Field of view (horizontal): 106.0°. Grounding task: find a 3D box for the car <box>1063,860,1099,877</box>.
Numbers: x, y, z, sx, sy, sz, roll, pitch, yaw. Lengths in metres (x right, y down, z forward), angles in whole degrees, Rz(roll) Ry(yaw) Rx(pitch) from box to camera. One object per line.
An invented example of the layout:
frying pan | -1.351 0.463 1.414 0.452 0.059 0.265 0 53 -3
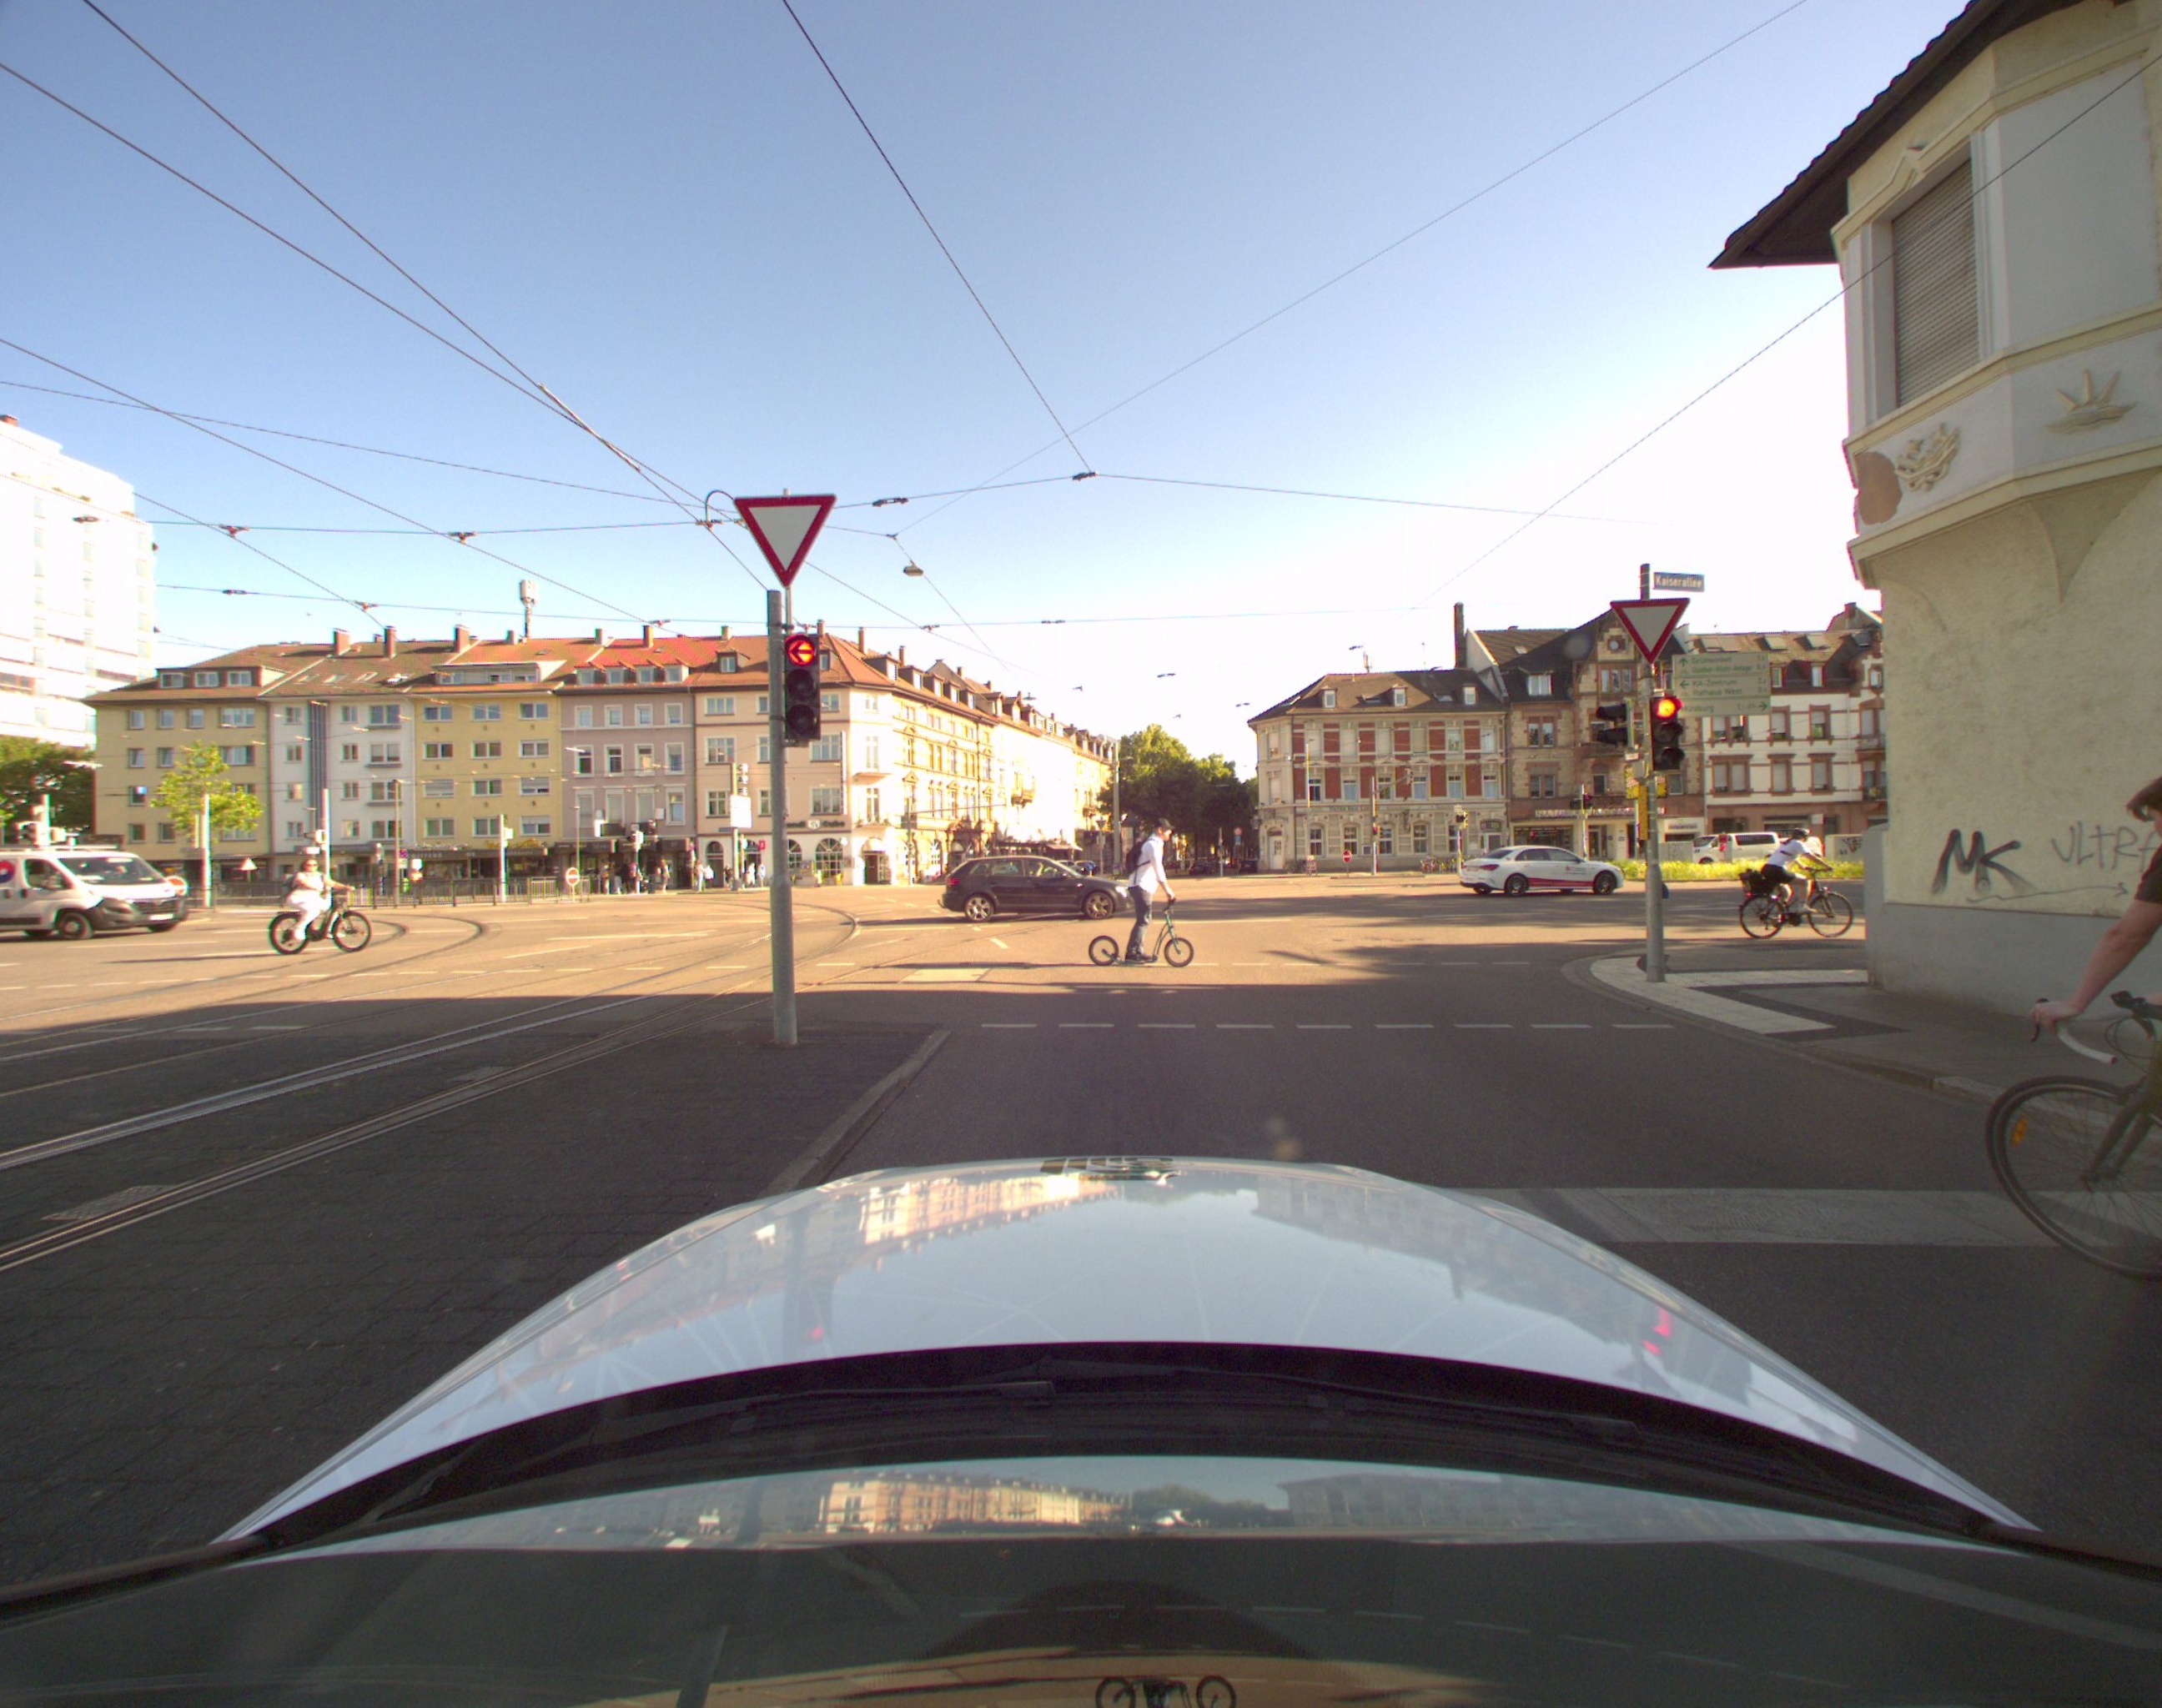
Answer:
car | 0.029 1.312 73.798 1.977 1.404 4.189 -1 0 18

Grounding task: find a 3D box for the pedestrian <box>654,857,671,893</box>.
pedestrian | -21.524 1.074 41.928 0.559 1.786 0.559 -1 0 -4

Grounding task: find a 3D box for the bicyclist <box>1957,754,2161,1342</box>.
bicyclist | 3.558 0.577 2.492 0.649 1.767 0.995 -1 0 2

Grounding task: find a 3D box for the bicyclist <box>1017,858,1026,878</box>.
bicyclist | -4.769 1.093 65.462 0.486 1.601 0.668 -1 0 12

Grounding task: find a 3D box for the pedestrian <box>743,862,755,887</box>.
pedestrian | -22.676 1.423 55.673 0.744 1.682 0.623 -1 0 -23

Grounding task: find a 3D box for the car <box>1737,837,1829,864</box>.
car | 45.290 -0.234 52.594 4.239 1.622 1.999 -1 0 -1

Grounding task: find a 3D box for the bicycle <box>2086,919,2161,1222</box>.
bicycle | 4.503 0.859 2.480 0.568 1.165 1.890 -1 0 2

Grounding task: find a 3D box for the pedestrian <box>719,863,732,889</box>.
pedestrian | -23.076 1.405 52.923 0.744 1.682 0.623 -1 0 -23

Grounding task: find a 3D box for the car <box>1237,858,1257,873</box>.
car | 16.798 1.136 82.285 1.742 1.420 4.016 -1 0 14

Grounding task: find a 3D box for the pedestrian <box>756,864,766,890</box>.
pedestrian | -15.795 1.131 40.191 0.364 1.253 0.449 -1 0 -10

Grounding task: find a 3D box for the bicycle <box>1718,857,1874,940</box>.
bicycle | 11.334 0.676 12.940 1.920 1.223 0.741 -1 0 -6

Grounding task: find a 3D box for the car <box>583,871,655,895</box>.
car | -30.347 1.894 53.526 3.711 1.491 1.820 0 -1 4

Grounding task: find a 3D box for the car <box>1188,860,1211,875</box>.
car | 11.094 1.208 75.940 1.705 1.300 4.089 -1 0 14

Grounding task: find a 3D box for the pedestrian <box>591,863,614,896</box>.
pedestrian | -24.906 1.302 42.370 0.764 1.682 0.628 -1 0 1

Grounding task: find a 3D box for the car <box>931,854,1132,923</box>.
car | -1.103 0.730 18.283 4.264 1.381 1.642 -1 0 -6

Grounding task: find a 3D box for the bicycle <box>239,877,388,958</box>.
bicycle | -13.276 1.083 14.118 1.934 1.299 0.623 -2 0 0

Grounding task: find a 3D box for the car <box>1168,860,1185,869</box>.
car | 16.027 1.744 136.411 1.977 1.404 4.189 -1 0 18

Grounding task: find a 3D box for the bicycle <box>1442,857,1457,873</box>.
bicycle | 23.853 0.689 52.748 0.483 1.020 1.789 -1 0 12

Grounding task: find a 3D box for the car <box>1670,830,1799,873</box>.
car | 33.407 -0.124 41.725 4.962 2.013 2.001 -1 0 1

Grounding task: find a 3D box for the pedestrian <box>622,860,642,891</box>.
pedestrian | -23.111 1.085 41.891 0.697 1.581 0.559 -1 0 -4

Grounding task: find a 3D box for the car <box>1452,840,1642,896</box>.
car | 13.510 0.380 23.716 4.664 1.473 1.738 -1 0 -6

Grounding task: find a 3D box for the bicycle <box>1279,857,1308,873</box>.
bicycle | 14.911 0.754 57.132 1.940 1.054 0.717 -1 0 11

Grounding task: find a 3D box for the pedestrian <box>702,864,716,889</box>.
pedestrian | -26.072 1.577 57.113 0.740 1.682 0.626 -1 0 -10

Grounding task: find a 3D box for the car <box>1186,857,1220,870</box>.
car | 14.960 1.161 99.499 3.959 1.454 1.687 -1 0 13

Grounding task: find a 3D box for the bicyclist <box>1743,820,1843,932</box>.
bicyclist | 11.299 0.334 12.949 0.937 1.713 0.732 -1 0 -6

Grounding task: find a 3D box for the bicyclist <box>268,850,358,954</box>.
bicyclist | -13.310 0.812 14.141 0.796 1.715 0.734 -2 0 0

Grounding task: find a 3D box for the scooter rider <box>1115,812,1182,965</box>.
scooter rider | 0.866 0.438 10.640 0.792 1.912 0.797 -1 0 1

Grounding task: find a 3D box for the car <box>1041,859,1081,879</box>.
car | -1.591 1.218 67.661 1.977 1.516 4.189 -1 0 18

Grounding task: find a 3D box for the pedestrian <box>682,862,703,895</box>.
pedestrian | -20.134 1.271 42.209 0.738 1.682 0.628 -1 0 1

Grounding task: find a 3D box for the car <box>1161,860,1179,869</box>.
car | 14.327 1.715 131.252 1.977 1.404 4.189 -1 0 18

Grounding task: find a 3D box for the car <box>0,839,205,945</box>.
car | -25.577 0.910 20.210 5.100 2.432 2.079 -2 1 -4

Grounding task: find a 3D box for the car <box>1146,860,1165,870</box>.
car | 11.197 1.694 122.493 1.977 1.404 4.189 -1 0 18

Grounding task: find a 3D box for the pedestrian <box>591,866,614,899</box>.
pedestrian | -23.838 1.424 40.582 0.738 1.635 0.572 -1 0 1

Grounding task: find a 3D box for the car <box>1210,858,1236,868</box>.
car | 19.378 1.220 111.182 3.409 1.239 1.582 -1 0 13

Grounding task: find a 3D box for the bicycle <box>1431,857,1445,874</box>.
bicycle | 23.158 0.727 52.867 0.483 1.020 1.789 -1 0 12

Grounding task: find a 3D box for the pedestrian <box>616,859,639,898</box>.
pedestrian | -22.459 1.203 40.333 0.625 1.850 0.778 -1 0 1

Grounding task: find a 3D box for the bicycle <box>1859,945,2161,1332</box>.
bicycle | 3.560 0.919 2.494 0.568 1.058 1.890 -1 0 2

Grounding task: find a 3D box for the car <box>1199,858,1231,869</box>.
car | 17.333 1.231 105.153 3.959 1.288 1.700 -1 0 13

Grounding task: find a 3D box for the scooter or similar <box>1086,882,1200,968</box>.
scooter or similar | 0.799 0.909 10.624 1.426 1.043 0.565 -1 0 1

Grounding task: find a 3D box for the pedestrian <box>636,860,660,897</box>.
pedestrian | -21.604 1.221 40.668 0.764 1.829 0.723 -1 0 1

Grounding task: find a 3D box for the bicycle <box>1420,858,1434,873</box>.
bicycle | 22.481 0.737 52.970 0.483 0.914 1.789 -1 0 12
